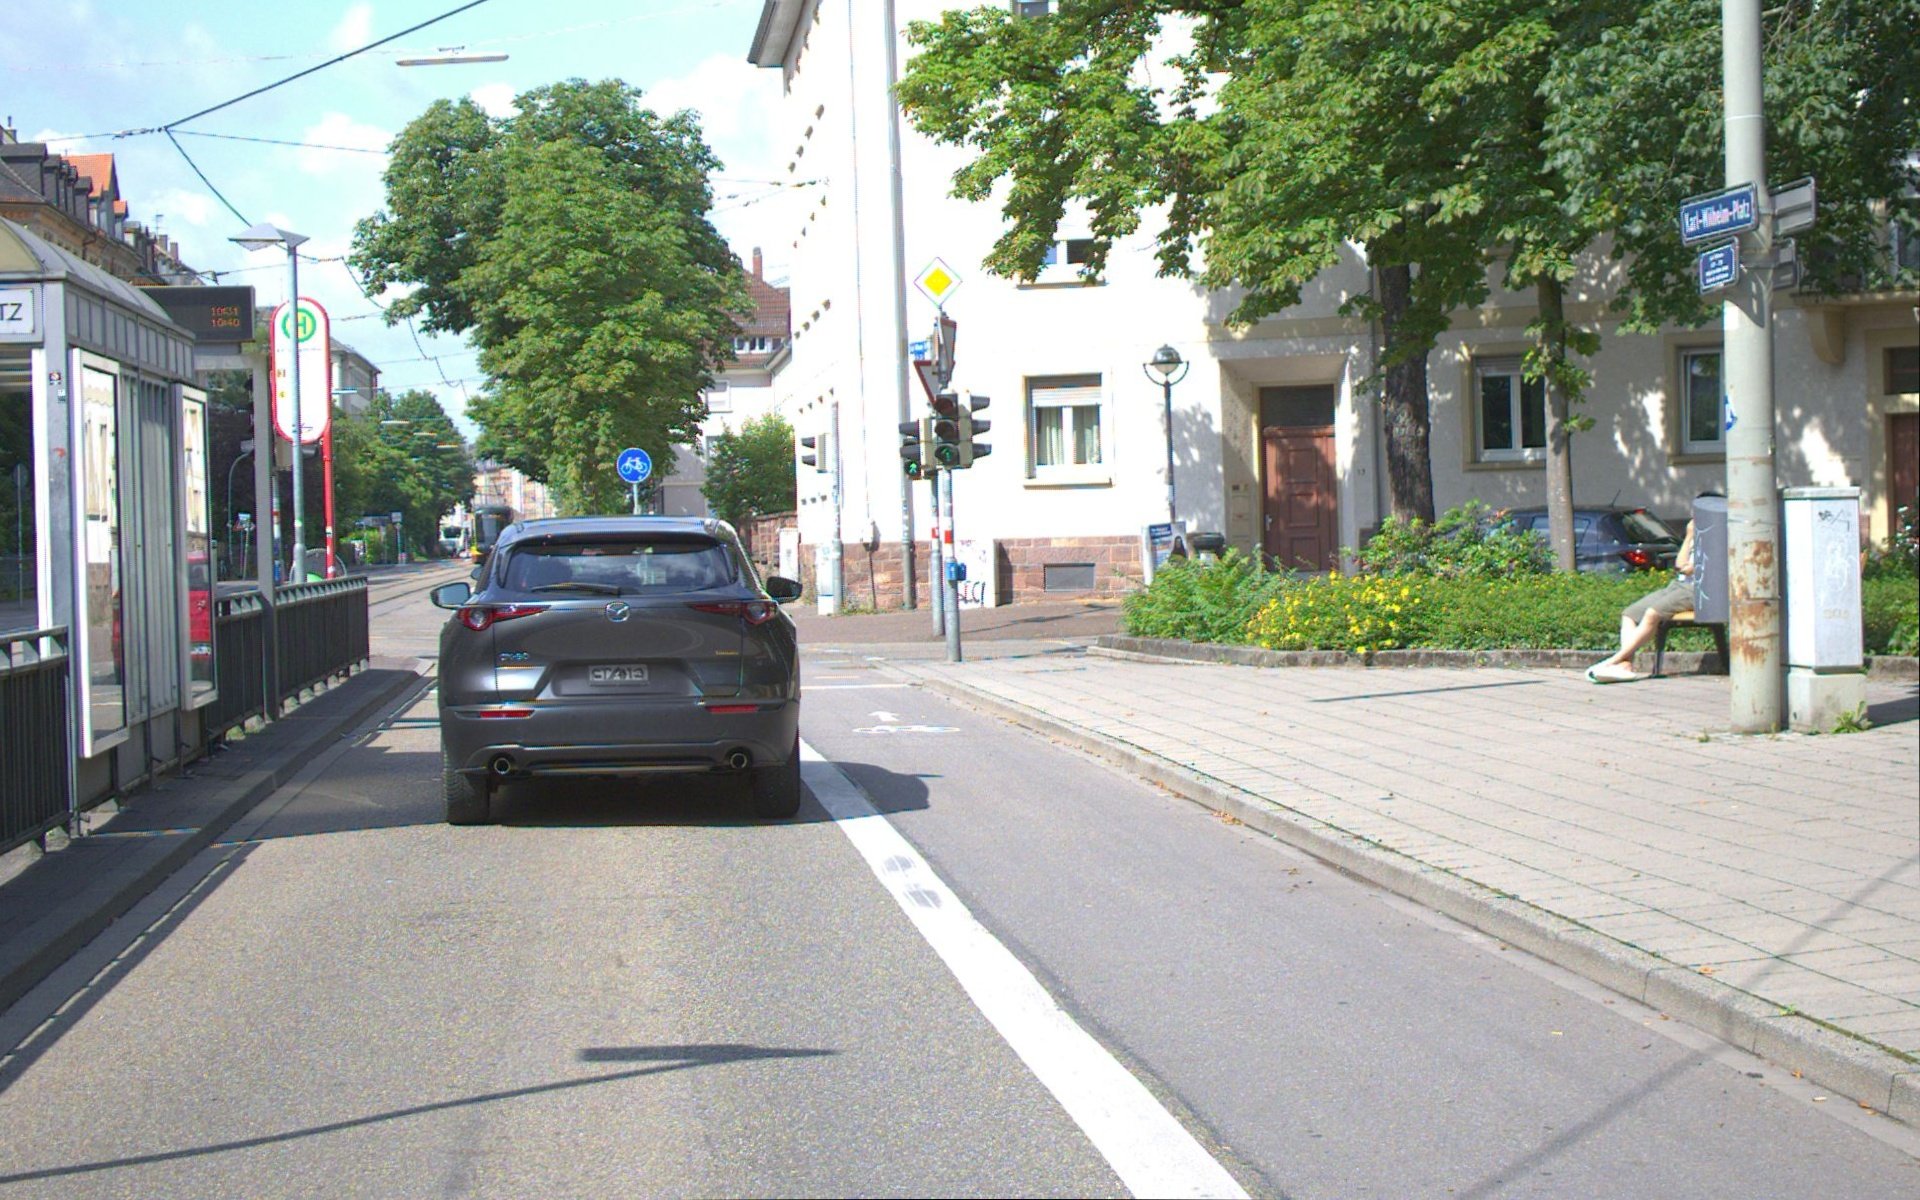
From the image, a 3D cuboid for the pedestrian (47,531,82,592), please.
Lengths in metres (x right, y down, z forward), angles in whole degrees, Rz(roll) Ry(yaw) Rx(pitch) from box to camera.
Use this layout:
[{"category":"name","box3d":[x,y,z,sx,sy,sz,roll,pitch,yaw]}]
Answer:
[{"category":"pedestrian","box3d":[-25.285,-1.082,97.066,0.787,1.682,0.732,-2,1,-4]}]

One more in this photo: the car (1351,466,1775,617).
[{"category":"car","box3d":[6.601,-0.630,37.828,4.167,1.504,1.848,0,3,37]}]

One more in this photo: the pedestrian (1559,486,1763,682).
[{"category":"pedestrian","box3d":[4.845,-0.117,23.785,1.192,1.264,0.558,-4,2,-10]}]

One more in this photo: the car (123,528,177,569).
[{"category":"car","box3d":[-33.018,-2.097,140.211,1.656,1.590,3.931,-2,2,-6]}]

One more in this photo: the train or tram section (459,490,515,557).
[{"category":"train or tram section","box3d":[-30.026,-4.784,218.795,2.997,3.970,13.812,-2,1,-6]}]

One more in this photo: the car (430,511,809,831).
[{"category":"car","box3d":[-1.881,0.303,18.323,1.782,1.509,4.001,0,1,-8]}]

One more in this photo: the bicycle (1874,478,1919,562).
[{"category":"bicycle","box3d":[12.246,-0.997,42.516,0.565,1.016,1.752,-5,4,-43]}]

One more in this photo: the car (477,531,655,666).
[{"category":"car","box3d":[-4.587,-0.062,39.656,1.775,1.459,3.843,0,1,-10]}]

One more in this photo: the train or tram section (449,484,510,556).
[{"category":"train or tram section","box3d":[-28.586,-4.698,205.057,2.997,3.970,13.812,-2,1,-6]}]
